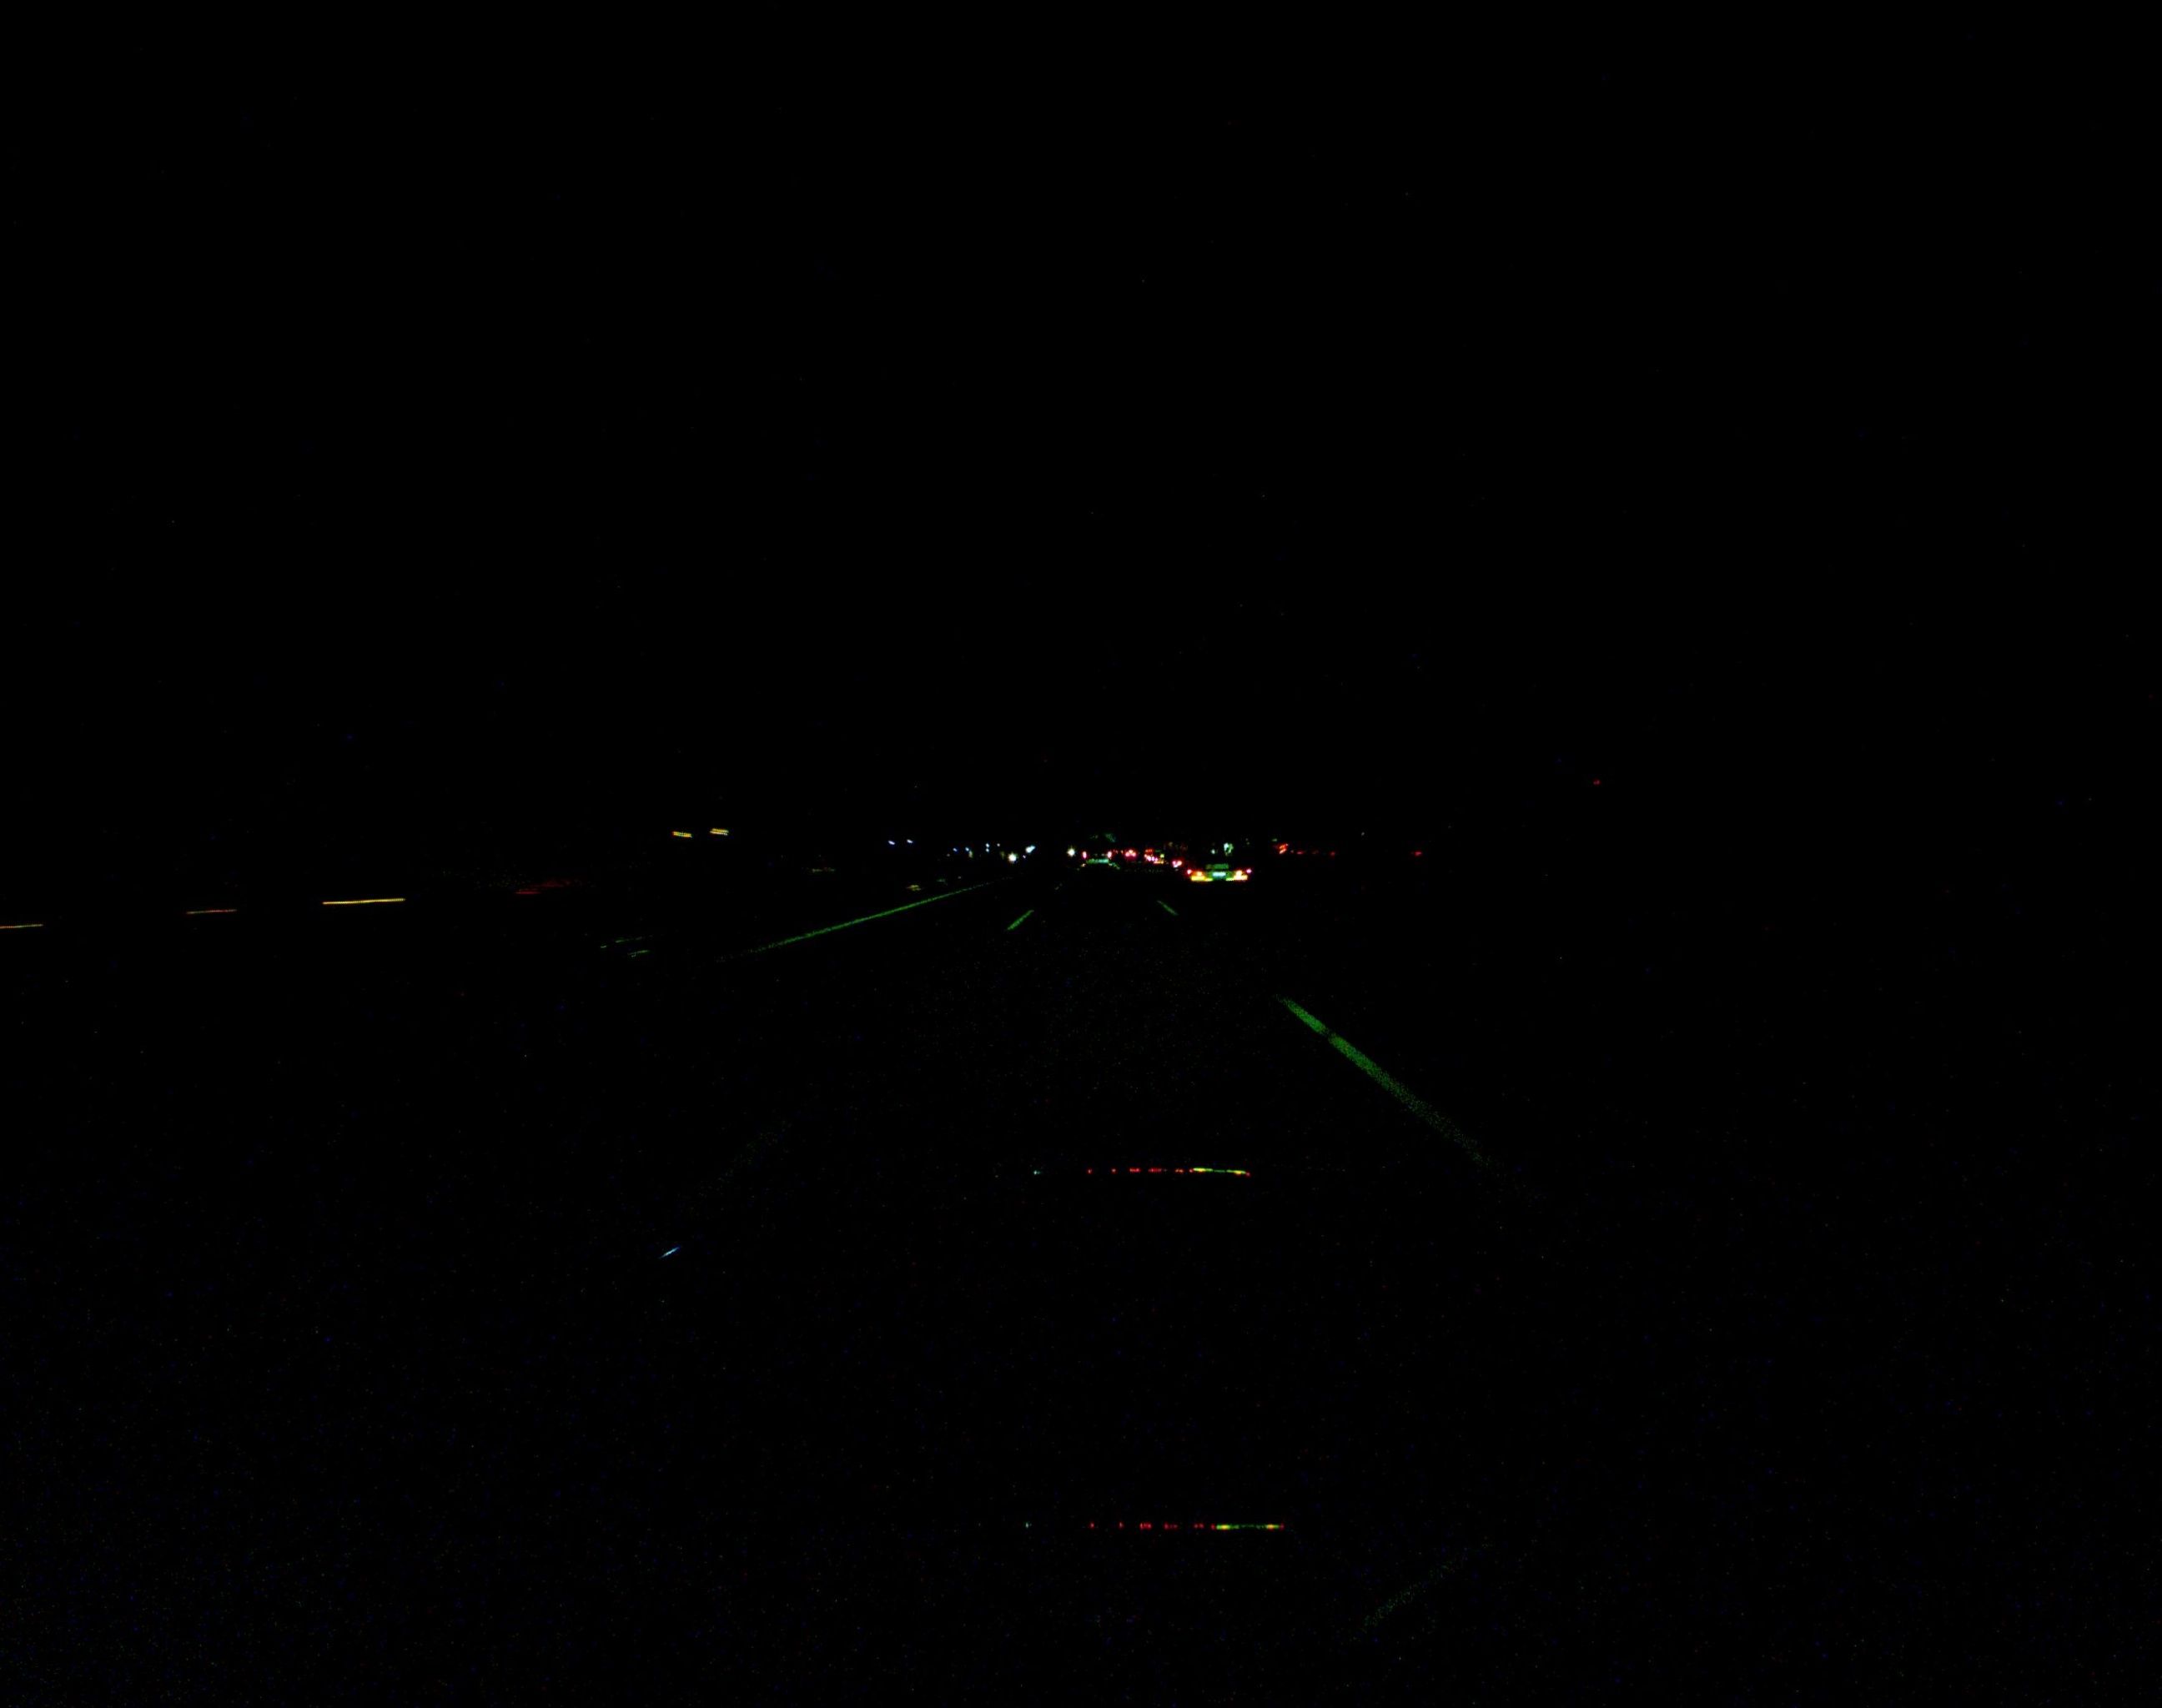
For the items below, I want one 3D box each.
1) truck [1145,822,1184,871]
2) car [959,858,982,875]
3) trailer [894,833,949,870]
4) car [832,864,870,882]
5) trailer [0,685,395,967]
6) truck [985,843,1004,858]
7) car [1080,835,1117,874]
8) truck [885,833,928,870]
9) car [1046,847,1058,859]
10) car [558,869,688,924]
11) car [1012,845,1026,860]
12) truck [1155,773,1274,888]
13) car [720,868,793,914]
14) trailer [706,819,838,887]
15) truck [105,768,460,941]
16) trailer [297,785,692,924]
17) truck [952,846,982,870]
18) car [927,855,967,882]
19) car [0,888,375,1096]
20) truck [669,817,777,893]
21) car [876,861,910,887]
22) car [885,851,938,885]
[{"bbox_3d":[8.236,-0.724,82.016,3.330,4.476,13.923,-1,0,4],"label":"truck"},{"bbox_3d":[-13.401,1.497,99.046,1.986,2.014,5.327,-1,-1,2],"label":"car"},{"bbox_3d":[-17.970,-0.077,92.951,2.875,3.849,15.071,0,-1,1],"label":"trailer"},{"bbox_3d":[-21.619,1.780,76.832,1.987,1.684,5.324,0,-1,1],"label":"car"},{"bbox_3d":[-15.499,-0.352,10.490,2.876,3.671,12.215,0,-1,0],"label":"trailer"},{"bbox_3d":[-19.534,-0.690,184.196,3.157,3.222,7.450,-1,-1,2],"label":"truck"},{"bbox_3d":[1.360,0.081,60.756,2.326,2.640,5.254,-2,-1,5],"label":"car"},{"bbox_3d":[-18.131,-0.193,84.906,2.849,3.687,6.604,0,-1,1],"label":"truck"},{"bbox_3d":[-4.817,-0.170,136.254,1.989,2.014,3.995,0,-1,-3],"label":"car"},{"bbox_3d":[-15.216,1.344,27.384,1.989,1.686,4.502,0,-1,-3],"label":"car"},{"bbox_3d":[-8.957,-0.196,118.132,1.989,2.014,3.995,0,-1,-3],"label":"car"},{"bbox_3d":[6.431,-0.988,43.928,3.899,4.627,21.033,-1,0,3],"label":"truck"},{"bbox_3d":[-15.218,1.695,38.396,1.989,2.014,3.995,0,-1,-3],"label":"car"},{"bbox_3d":[-18.648,0.051,50.570,2.875,3.671,13.050,0,-1,1],"label":"trailer"},{"bbox_3d":[-19.539,0.006,20.604,2.864,3.673,6.052,-1,0,1],"label":"truck"},{"bbox_3d":[-19.343,-0.020,29.398,2.875,3.671,15.242,-1,0,1],"label":"trailer"},{"bbox_3d":[-19.909,0.800,143.394,2.875,3.849,15.071,0,-1,1],"label":"truck"},{"bbox_3d":[-10.371,1.139,63.367,1.985,2.014,5.327,-1,-1,2],"label":"car"},{"bbox_3d":[-11.599,1.498,10.270,1.989,2.014,3.995,0,-1,-3],"label":"car"},{"bbox_3d":[-18.790,0.029,43.181,2.863,3.673,6.053,-1,0,2],"label":"truck"},{"bbox_3d":[-14.936,1.587,64.864,1.989,2.014,3.995,0,-1,-3],"label":"car"},{"bbox_3d":[-10.658,0.878,51.677,1.985,2.014,5.327,-1,-1,3],"label":"car"}]
